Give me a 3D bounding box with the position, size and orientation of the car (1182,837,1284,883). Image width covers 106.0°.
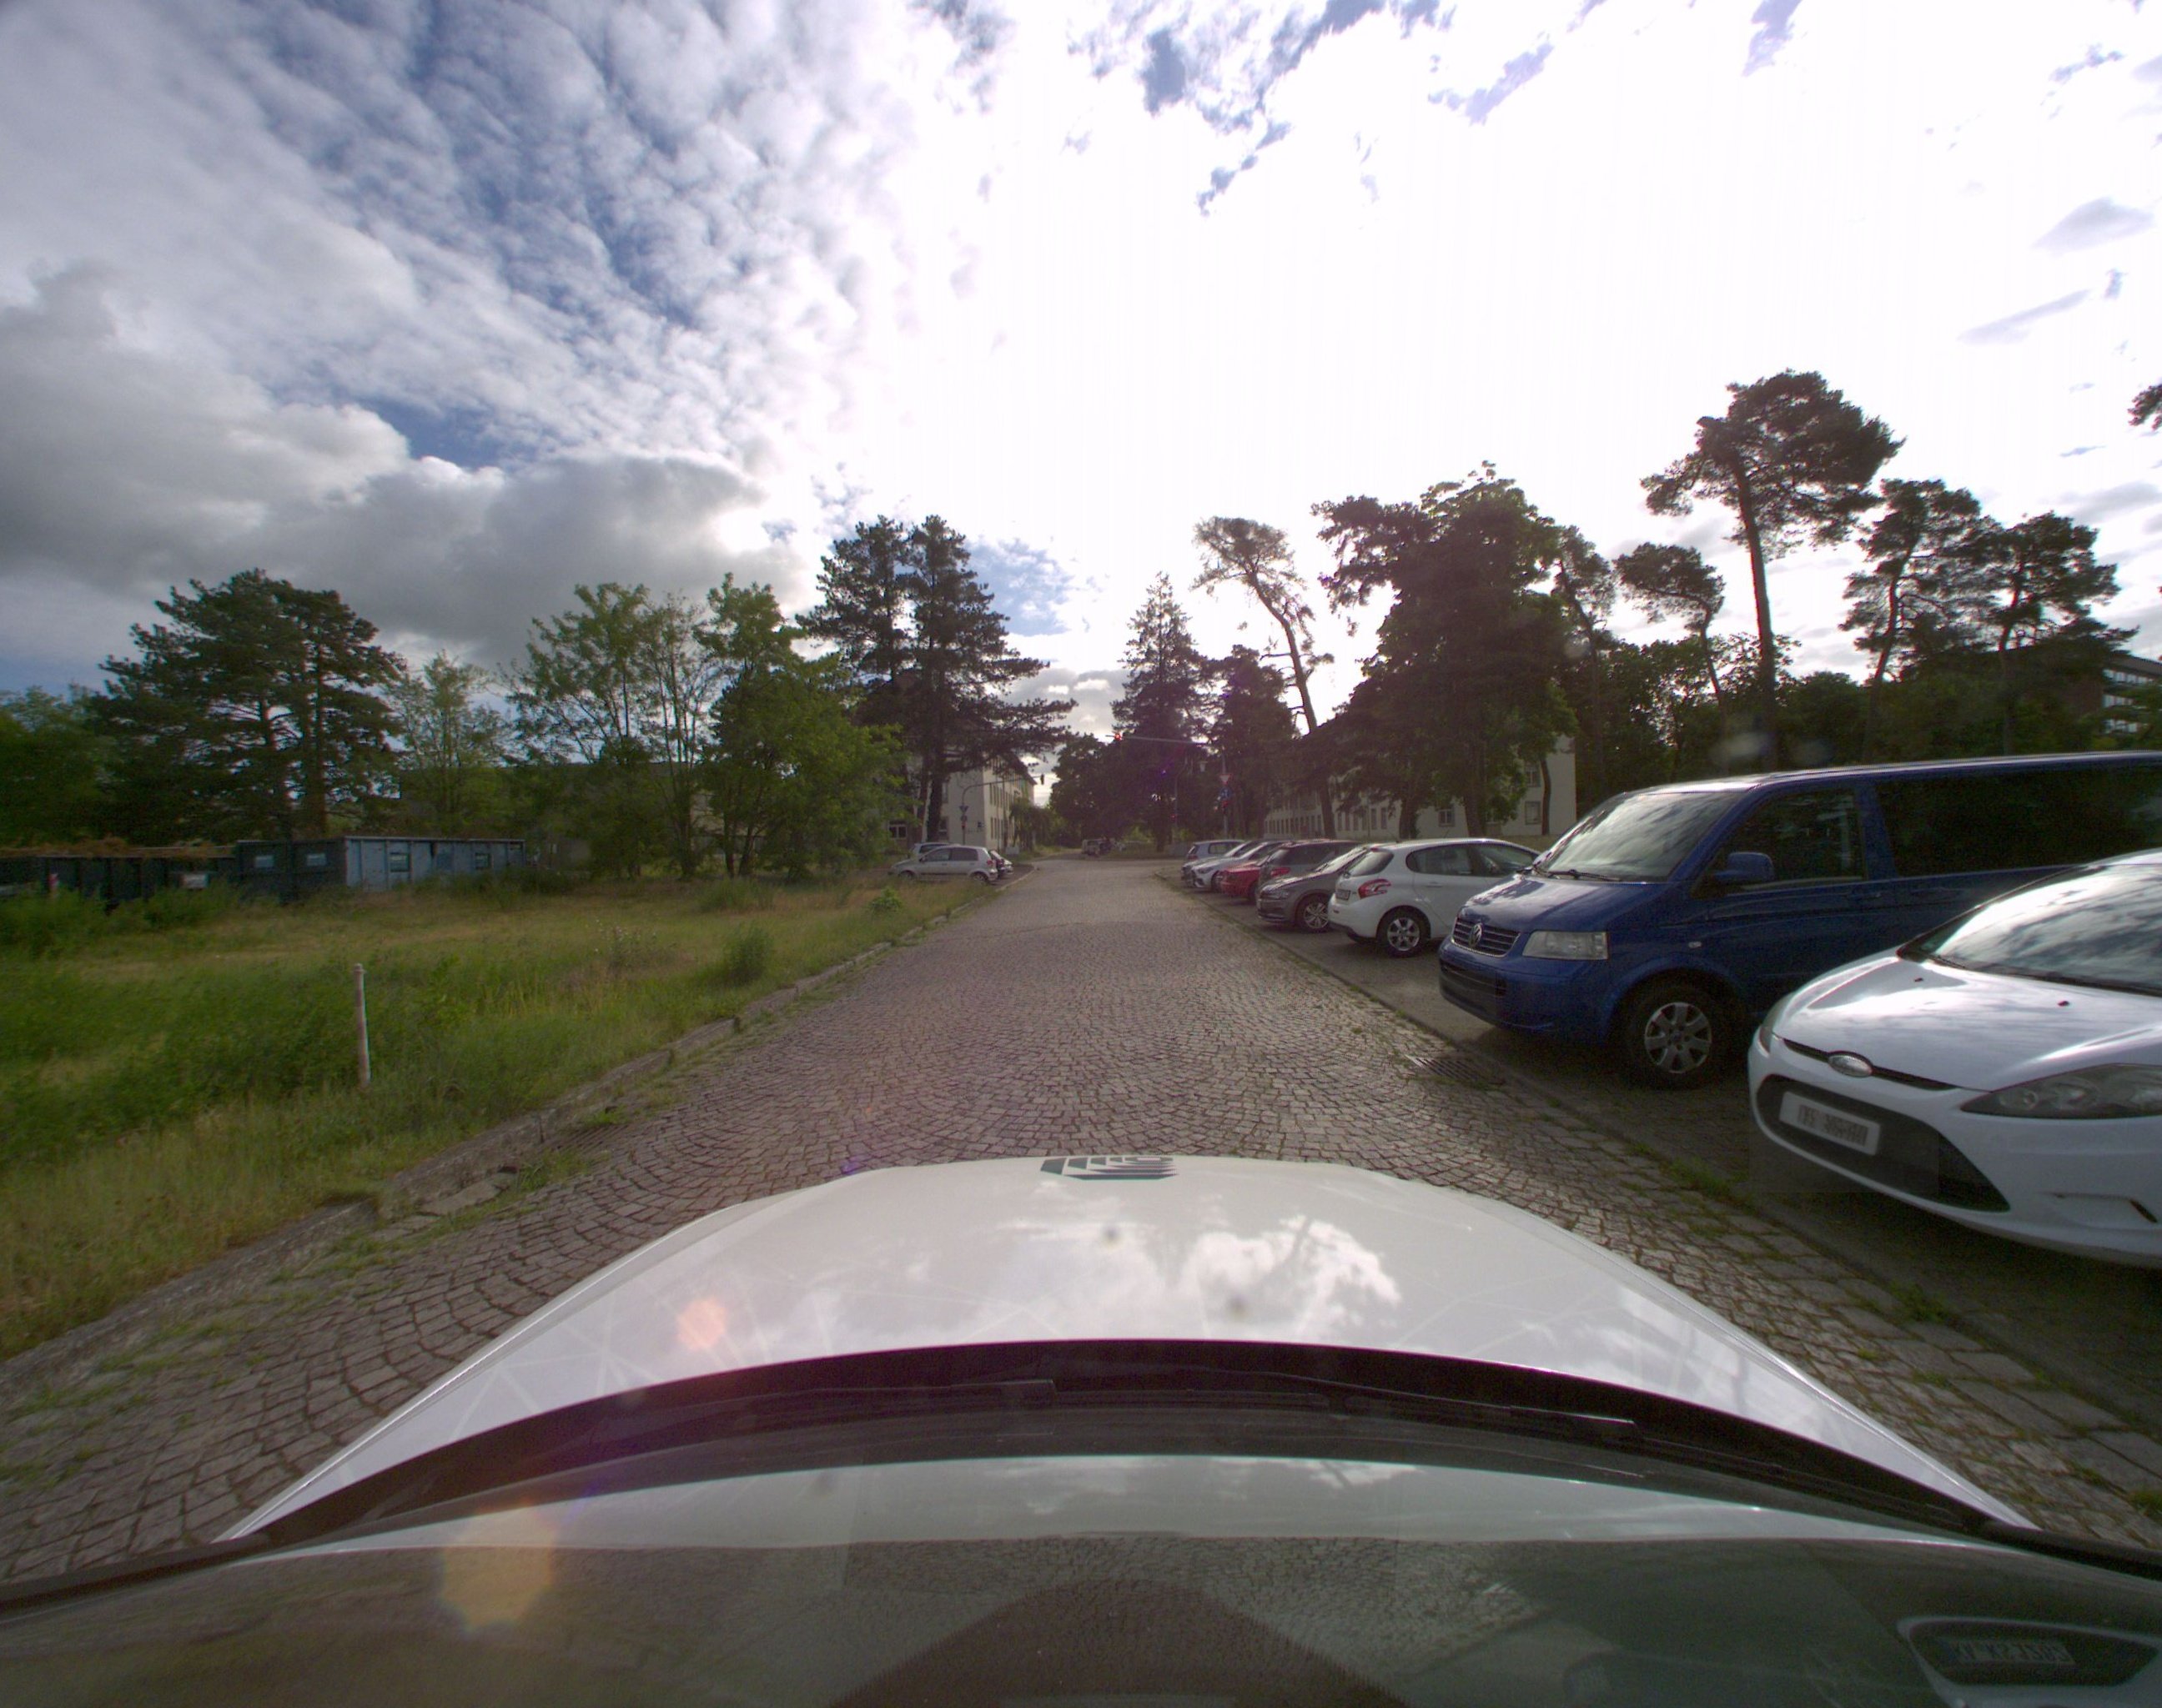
[{"bbox_3d":[5.483,0.200,29.633,3.384,1.543,1.388,-2,1,-6],"label":"car"}]

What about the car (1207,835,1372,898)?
[{"bbox_3d":[5.568,0.309,22.015,3.981,1.543,1.661,-1,1,-6],"label":"car"}]

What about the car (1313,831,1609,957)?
[{"bbox_3d":[5.080,0.489,11.190,3.283,1.504,1.663,-2,1,-2],"label":"car"}]

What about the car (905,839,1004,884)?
[{"bbox_3d":[-5.283,0.295,34.353,3.983,1.749,1.923,-1,1,-7],"label":"car"}]

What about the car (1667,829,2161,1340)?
[{"bbox_3d":[4.840,0.633,3.337,3.713,1.424,1.653,-3,1,-2],"label":"car"}]

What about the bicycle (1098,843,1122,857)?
[{"bbox_3d":[2.793,-0.410,78.611,2.158,1.268,0.811,-1,1,-6],"label":"bicycle"}]

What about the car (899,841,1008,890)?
[{"bbox_3d":[-4.830,0.395,31.319,3.981,1.705,1.996,-2,1,-6],"label":"car"}]

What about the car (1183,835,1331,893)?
[{"bbox_3d":[5.197,0.267,24.250,3.981,1.543,1.661,-2,1,-6],"label":"car"}]

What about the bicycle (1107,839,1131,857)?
[{"bbox_3d":[3.731,-0.595,79.907,2.158,1.615,0.811,-1,1,-6],"label":"bicycle"}]

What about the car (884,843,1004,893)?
[{"bbox_3d":[-4.762,0.467,28.824,3.981,1.552,1.996,-2,1,-6],"label":"car"}]

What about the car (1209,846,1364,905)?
[{"bbox_3d":[4.922,0.482,19.769,3.287,1.267,1.661,-2,1,-6],"label":"car"}]

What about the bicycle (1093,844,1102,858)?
[{"bbox_3d":[1.494,-0.290,74.853,0.807,1.268,1.974,-1,1,2],"label":"bicycle"}]

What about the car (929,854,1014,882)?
[{"bbox_3d":[-4.849,0.600,36.543,3.666,1.093,1.643,-2,1,-6],"label":"car"}]

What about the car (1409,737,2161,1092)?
[{"bbox_3d":[5.075,0.336,5.807,4.768,2.039,1.738,-2,1,-1],"label":"car"}]

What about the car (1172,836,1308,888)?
[{"bbox_3d":[5.222,0.226,27.063,4.116,1.543,1.661,-2,1,-6],"label":"car"}]

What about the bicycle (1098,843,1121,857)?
[{"bbox_3d":[2.797,-0.411,79.199,2.158,1.268,0.811,-1,1,-6],"label":"bicycle"}]

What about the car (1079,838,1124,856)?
[{"bbox_3d":[2.450,-0.858,96.434,5.051,2.013,1.993,-1,1,-10],"label":"car"}]

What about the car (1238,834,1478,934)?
[{"bbox_3d":[4.756,0.458,14.174,3.598,1.506,1.658,-2,1,-10],"label":"car"}]

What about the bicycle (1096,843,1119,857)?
[{"bbox_3d":[2.576,-0.413,80.412,2.158,1.268,0.811,-1,1,-6],"label":"bicycle"}]

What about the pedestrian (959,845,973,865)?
[{"bbox_3d":[-8.978,0.067,63.351,0.895,1.498,0.904,-1,1,1],"label":"pedestrian"}]

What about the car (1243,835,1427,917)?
[{"bbox_3d":[5.264,0.415,17.053,3.293,1.504,1.658,-2,1,-10],"label":"car"}]

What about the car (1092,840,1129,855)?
[{"bbox_3d":[3.372,-0.723,93.157,3.981,1.644,1.996,-1,1,-6],"label":"car"}]
